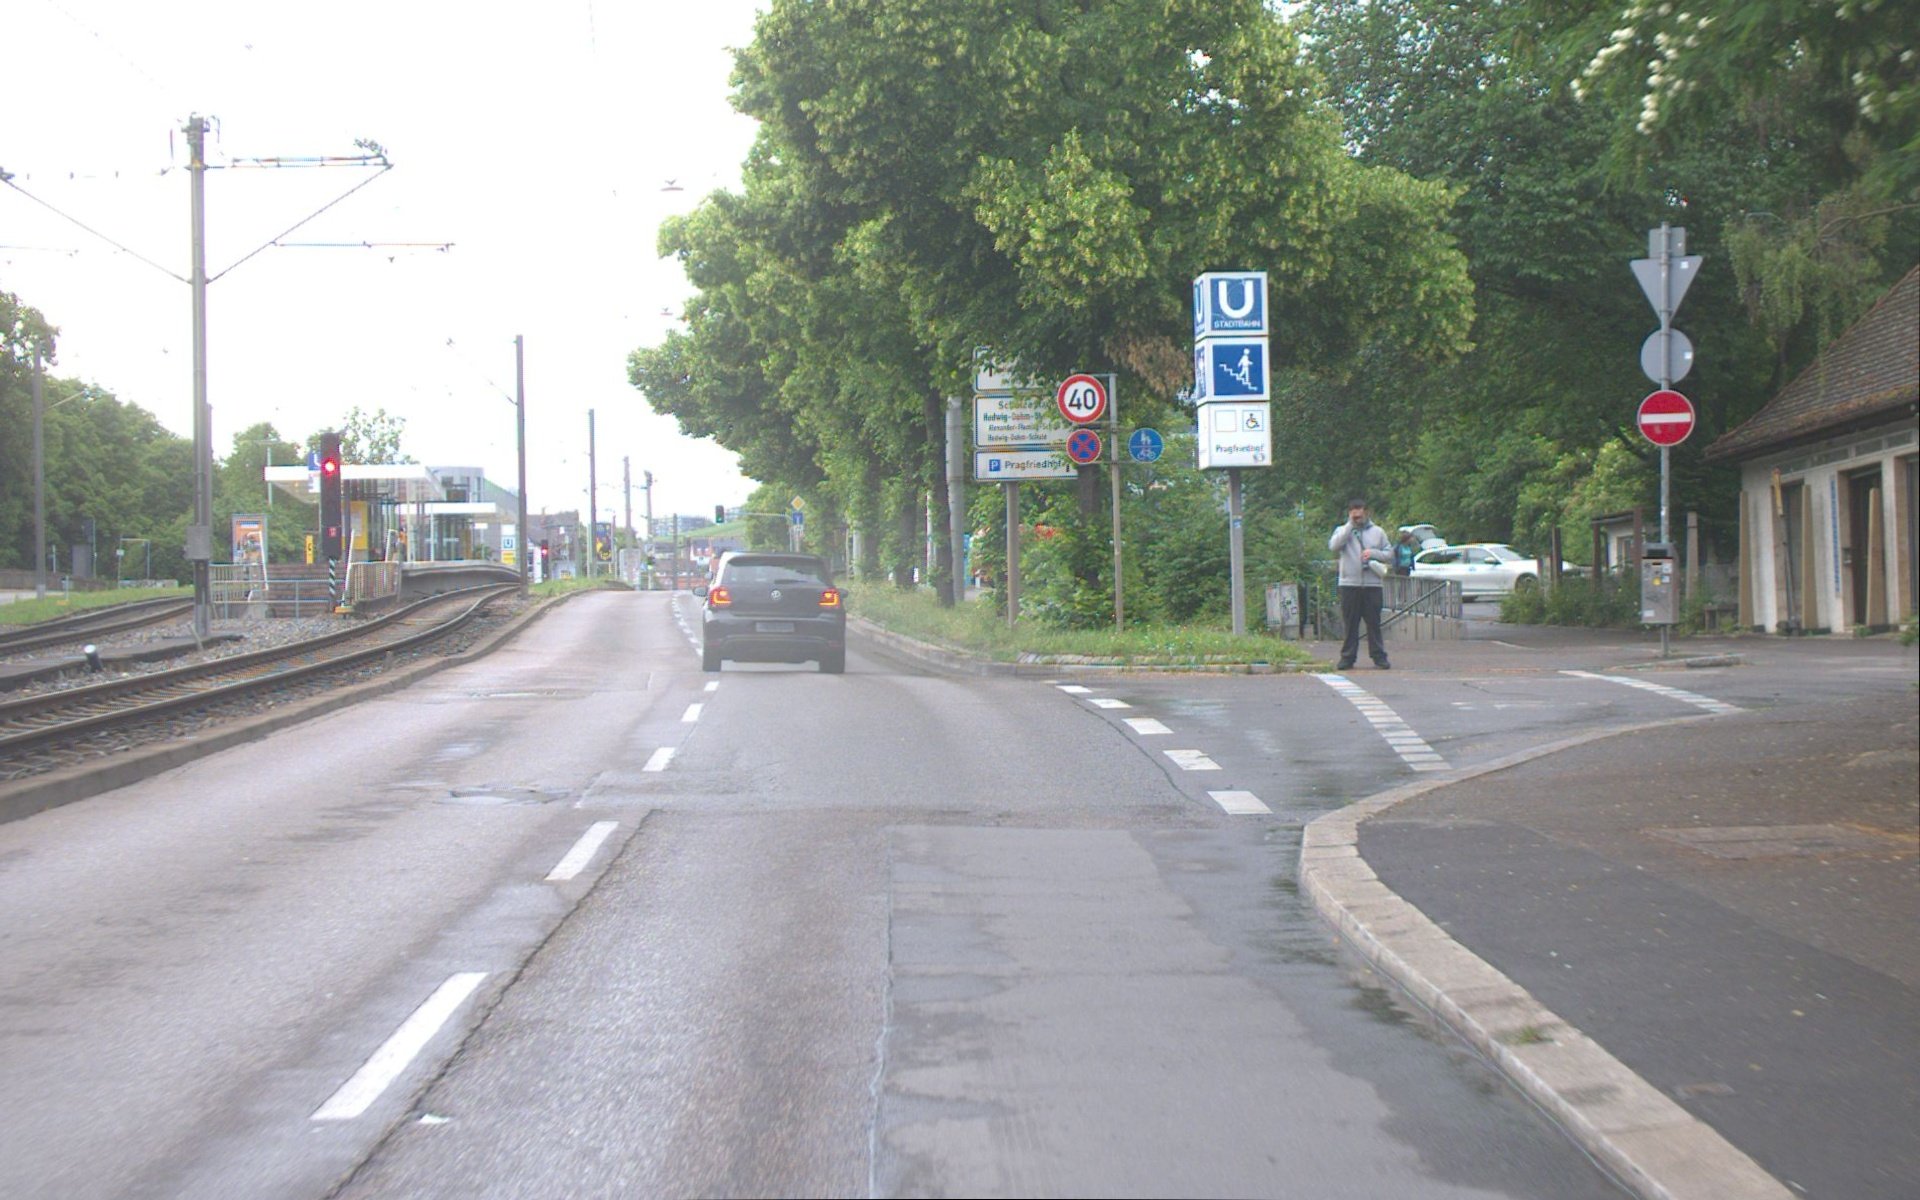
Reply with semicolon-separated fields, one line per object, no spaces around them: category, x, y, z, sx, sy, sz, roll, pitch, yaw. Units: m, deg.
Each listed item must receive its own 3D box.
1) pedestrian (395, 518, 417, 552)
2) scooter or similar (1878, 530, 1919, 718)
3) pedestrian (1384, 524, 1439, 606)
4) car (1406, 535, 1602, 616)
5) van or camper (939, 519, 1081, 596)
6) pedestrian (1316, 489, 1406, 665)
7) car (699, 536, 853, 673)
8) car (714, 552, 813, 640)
pedestrian;-19.731;-2.316;122.522;0.710;1.221;0.619;0;0;-4
scooter or similar;6.520;0.141;22.811;0.514;1.226;1.314;-4;0;4
pedestrian;11.216;-0.874;85.405;0.960;2.007;0.951;0;1;-28
car;13.478;-0.618;85.298;1.941;1.828;4.465;1;1;-45
van or camper;1.803;-1.498;122.341;2.039;2.398;5.379;4;0;39
pedestrian;4.239;-0.244;36.419;0.855;1.847;0.737;0;1;-1
car;-2.158;0.017;40.931;1.726;1.535;4.001;-1;1;-2
car;-3.577;-0.095;61.967;1.687;1.512;4.001;-1;1;-4
